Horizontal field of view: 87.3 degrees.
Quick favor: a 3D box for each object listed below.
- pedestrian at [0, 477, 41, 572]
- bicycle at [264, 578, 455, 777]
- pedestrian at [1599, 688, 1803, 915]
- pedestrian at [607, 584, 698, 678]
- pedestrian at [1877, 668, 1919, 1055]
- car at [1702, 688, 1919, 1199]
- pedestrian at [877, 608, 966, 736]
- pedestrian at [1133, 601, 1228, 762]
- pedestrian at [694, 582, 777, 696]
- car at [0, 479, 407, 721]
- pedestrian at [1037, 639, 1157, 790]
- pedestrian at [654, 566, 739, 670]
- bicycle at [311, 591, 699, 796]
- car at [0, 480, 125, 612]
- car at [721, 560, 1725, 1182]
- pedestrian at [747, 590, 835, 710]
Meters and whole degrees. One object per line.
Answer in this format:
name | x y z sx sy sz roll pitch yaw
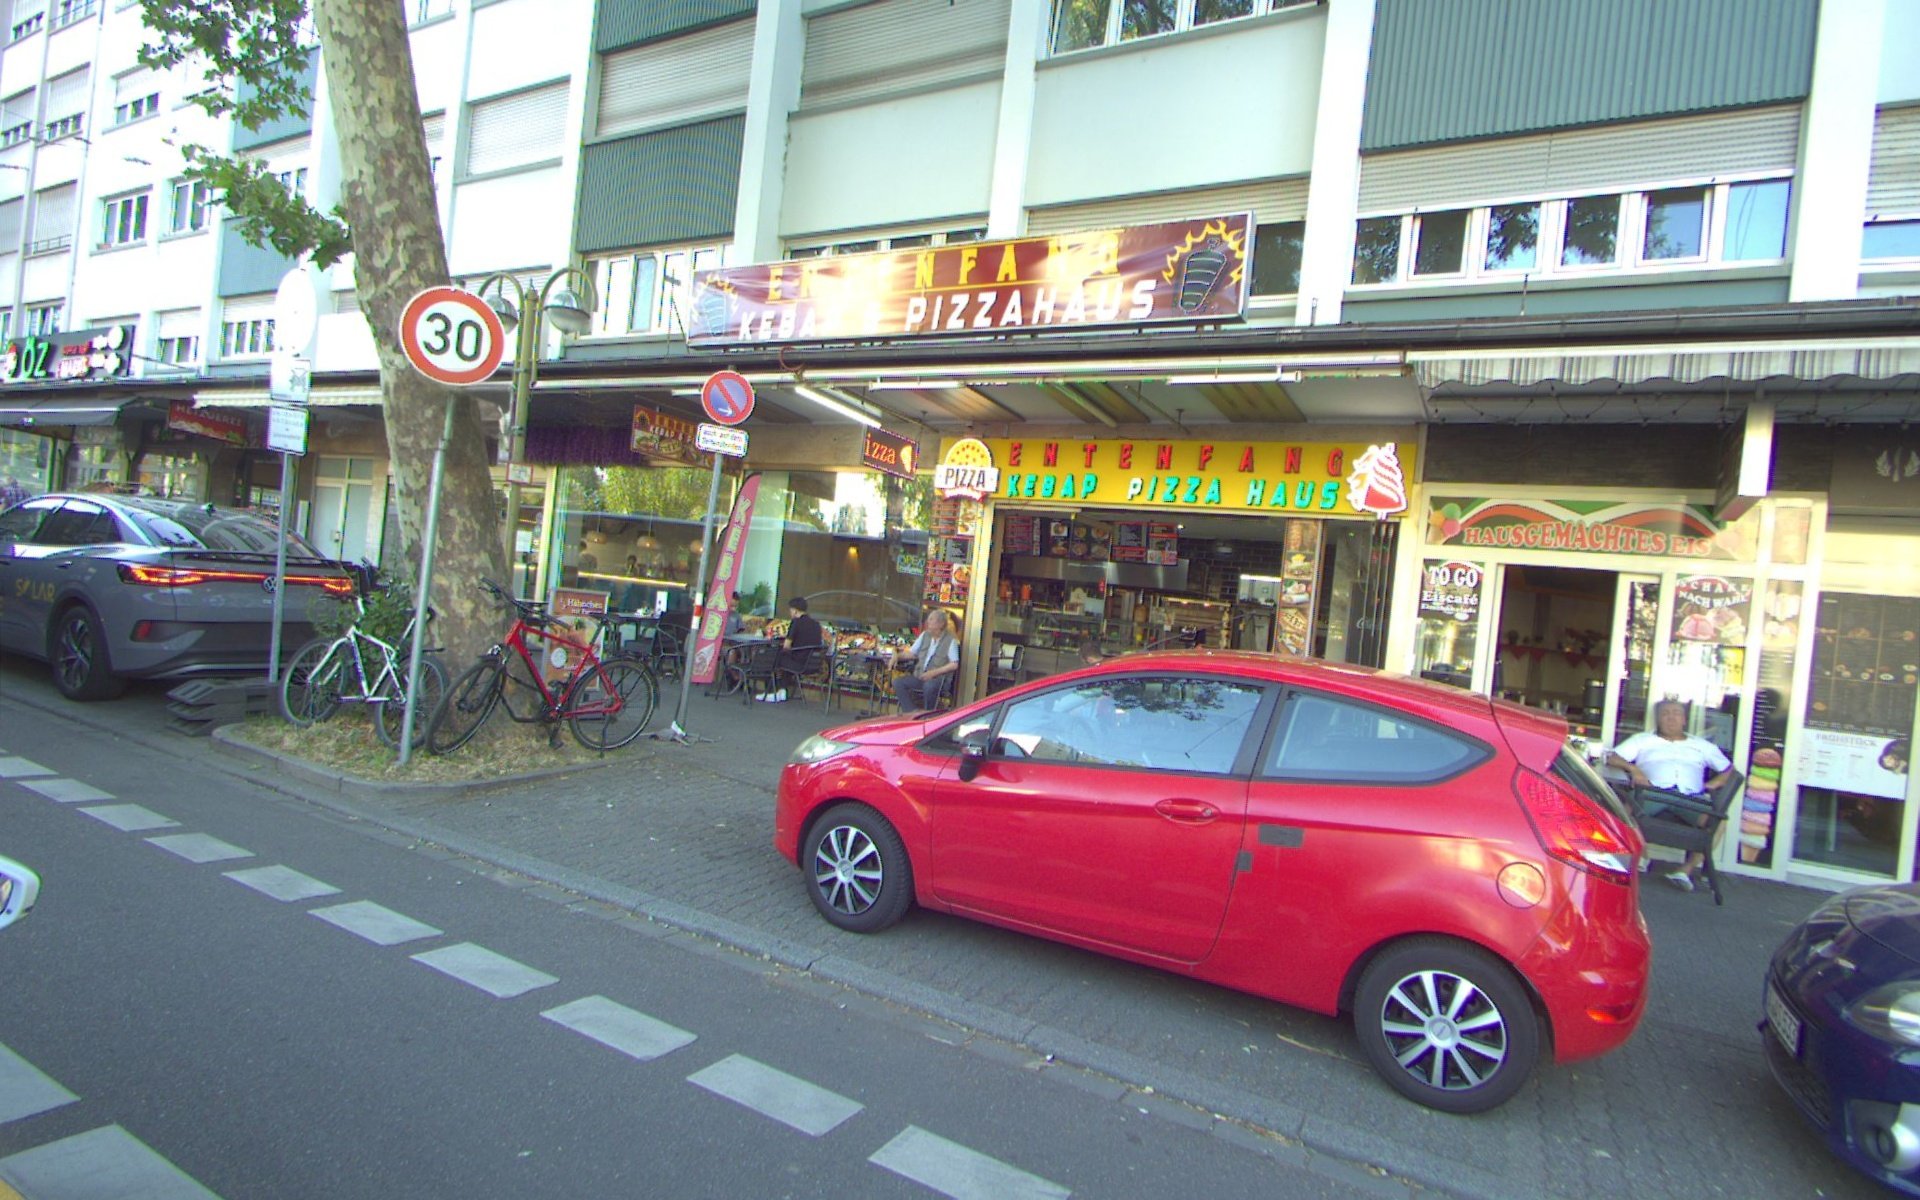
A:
pedestrian | -17.652 -1.406 18.761 0.661 1.688 0.593 4 2 -42
bicycle | -4.228 0.507 7.048 1.421 1.169 0.553 6 0 36
pedestrian | 5.249 1.368 7.225 0.937 1.352 1.069 7 0 30
pedestrian | -3.972 0.398 13.048 0.940 1.094 0.639 6 0 -9
pedestrian | 4.654 1.165 4.353 0.783 1.667 0.583 5 0 30
car | 4.386 1.268 2.662 3.549 1.488 1.767 6 3 29
pedestrian | -0.405 0.746 10.669 0.550 1.252 0.689 7 2 29
pedestrian | 2.316 0.845 10.535 0.589 1.566 0.700 7 0 34
pedestrian | -2.682 0.465 12.032 0.680 1.261 0.557 7 2 38
car | -7.333 -0.131 9.060 4.292 1.603 1.996 7 2 27
pedestrian | 1.260 1.017 9.203 0.798 1.225 0.654 7 2 28
pedestrian | -3.757 0.253 14.405 0.958 1.350 0.830 6 0 -9
bicycle | -3.006 0.560 6.909 0.547 1.171 2.377 7 4 44
car | -13.777 -0.897 13.814 4.292 1.603 1.996 7 2 27
car | 0.974 0.812 4.718 3.757 1.617 1.782 6 3 28
pedestrian | -1.926 0.559 11.474 0.679 1.261 0.558 7 2 33
